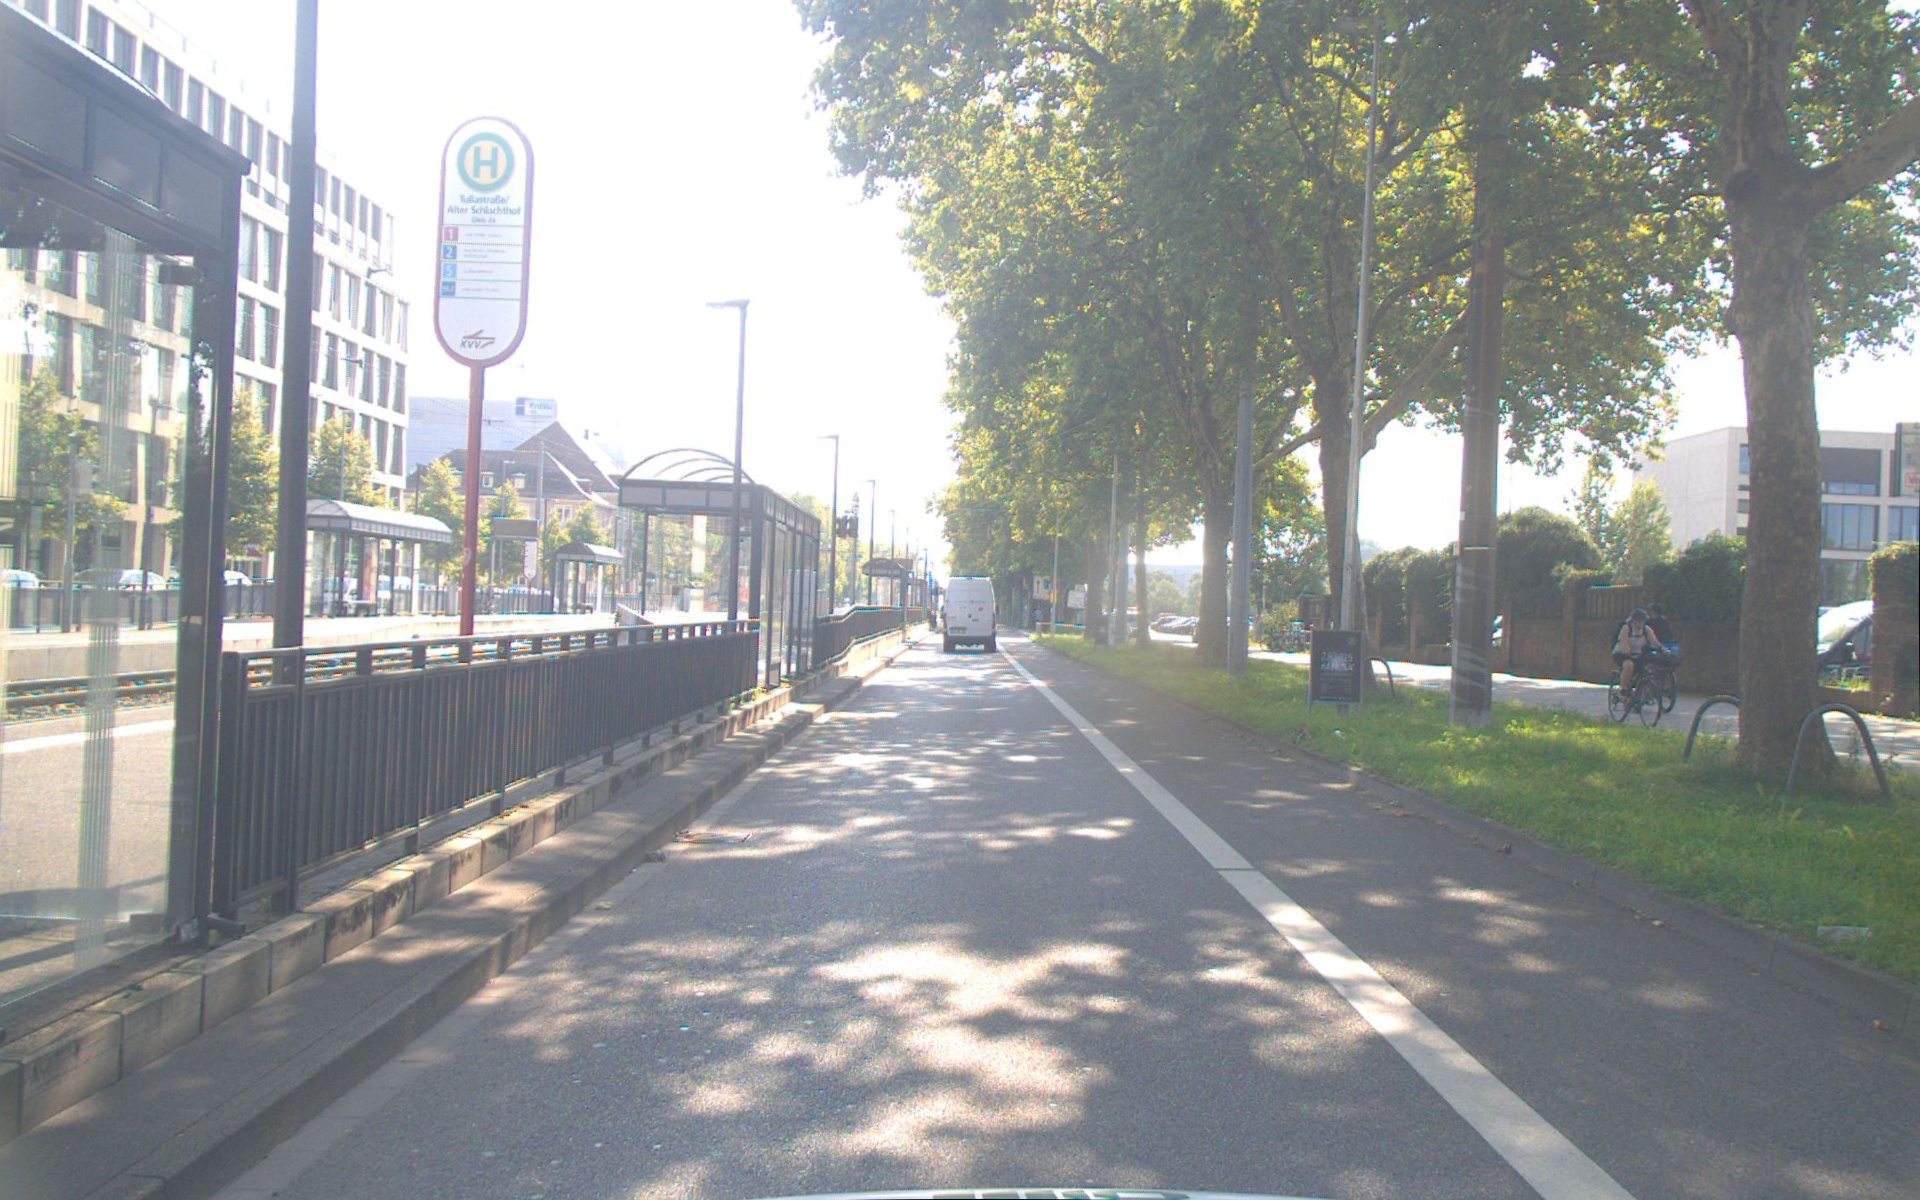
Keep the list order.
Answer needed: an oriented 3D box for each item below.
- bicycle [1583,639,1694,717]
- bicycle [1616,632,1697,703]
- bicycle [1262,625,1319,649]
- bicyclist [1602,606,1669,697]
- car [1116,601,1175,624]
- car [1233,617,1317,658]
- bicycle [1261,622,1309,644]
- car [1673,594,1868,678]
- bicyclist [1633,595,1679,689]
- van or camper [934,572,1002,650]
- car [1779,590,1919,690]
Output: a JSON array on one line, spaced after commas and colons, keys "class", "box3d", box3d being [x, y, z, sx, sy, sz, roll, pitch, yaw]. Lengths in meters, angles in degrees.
[{"class": "bicycle", "box3d": [9.895, 1.117, 24.222, 0.667, 1.023, 2.217, 1, 0, -1]}, {"class": "bicycle", "box3d": [11.775, 1.124, 28.028, 0.481, 1.108, 1.856, 2, 0, -3]}, {"class": "bicycle", "box3d": [12.915, 1.453, 64.647, 2.135, 0.861, 0.503, 1, 0, 0]}, {"class": "bicyclist", "box3d": [9.906, 0.742, 24.262, 0.656, 1.298, 0.728, 1, 0, -1]}, {"class": "car", "box3d": [13.221, 0.876, 117.745, 3.906, 1.400, 2.000, 3, -1, -1]}, {"class": "car", "box3d": [16.510, 1.961, 86.816, 3.906, 1.914, 2.000, 3, -1, -1]}, {"class": "bicycle", "box3d": [13.200, 1.344, 67.219, 1.893, 0.861, 0.372, 1, 0, 0]}, {"class": "car", "box3d": [19.472, 0.852, 39.818, 3.921, 1.875, 1.561, 2, 0, -3]}, {"class": "bicyclist", "box3d": [11.790, 0.698, 28.031, 0.460, 1.566, 0.596, 2, 0, -3]}, {"class": "van or camper", "box3d": [0.235, 0.388, 61.481, 2.074, 2.729, 5.246, -2, 0, -4]}, {"class": "car", "box3d": [19.080, 0.819, 33.541, 4.187, 1.926, 1.561, 2, 0, -3]}]
